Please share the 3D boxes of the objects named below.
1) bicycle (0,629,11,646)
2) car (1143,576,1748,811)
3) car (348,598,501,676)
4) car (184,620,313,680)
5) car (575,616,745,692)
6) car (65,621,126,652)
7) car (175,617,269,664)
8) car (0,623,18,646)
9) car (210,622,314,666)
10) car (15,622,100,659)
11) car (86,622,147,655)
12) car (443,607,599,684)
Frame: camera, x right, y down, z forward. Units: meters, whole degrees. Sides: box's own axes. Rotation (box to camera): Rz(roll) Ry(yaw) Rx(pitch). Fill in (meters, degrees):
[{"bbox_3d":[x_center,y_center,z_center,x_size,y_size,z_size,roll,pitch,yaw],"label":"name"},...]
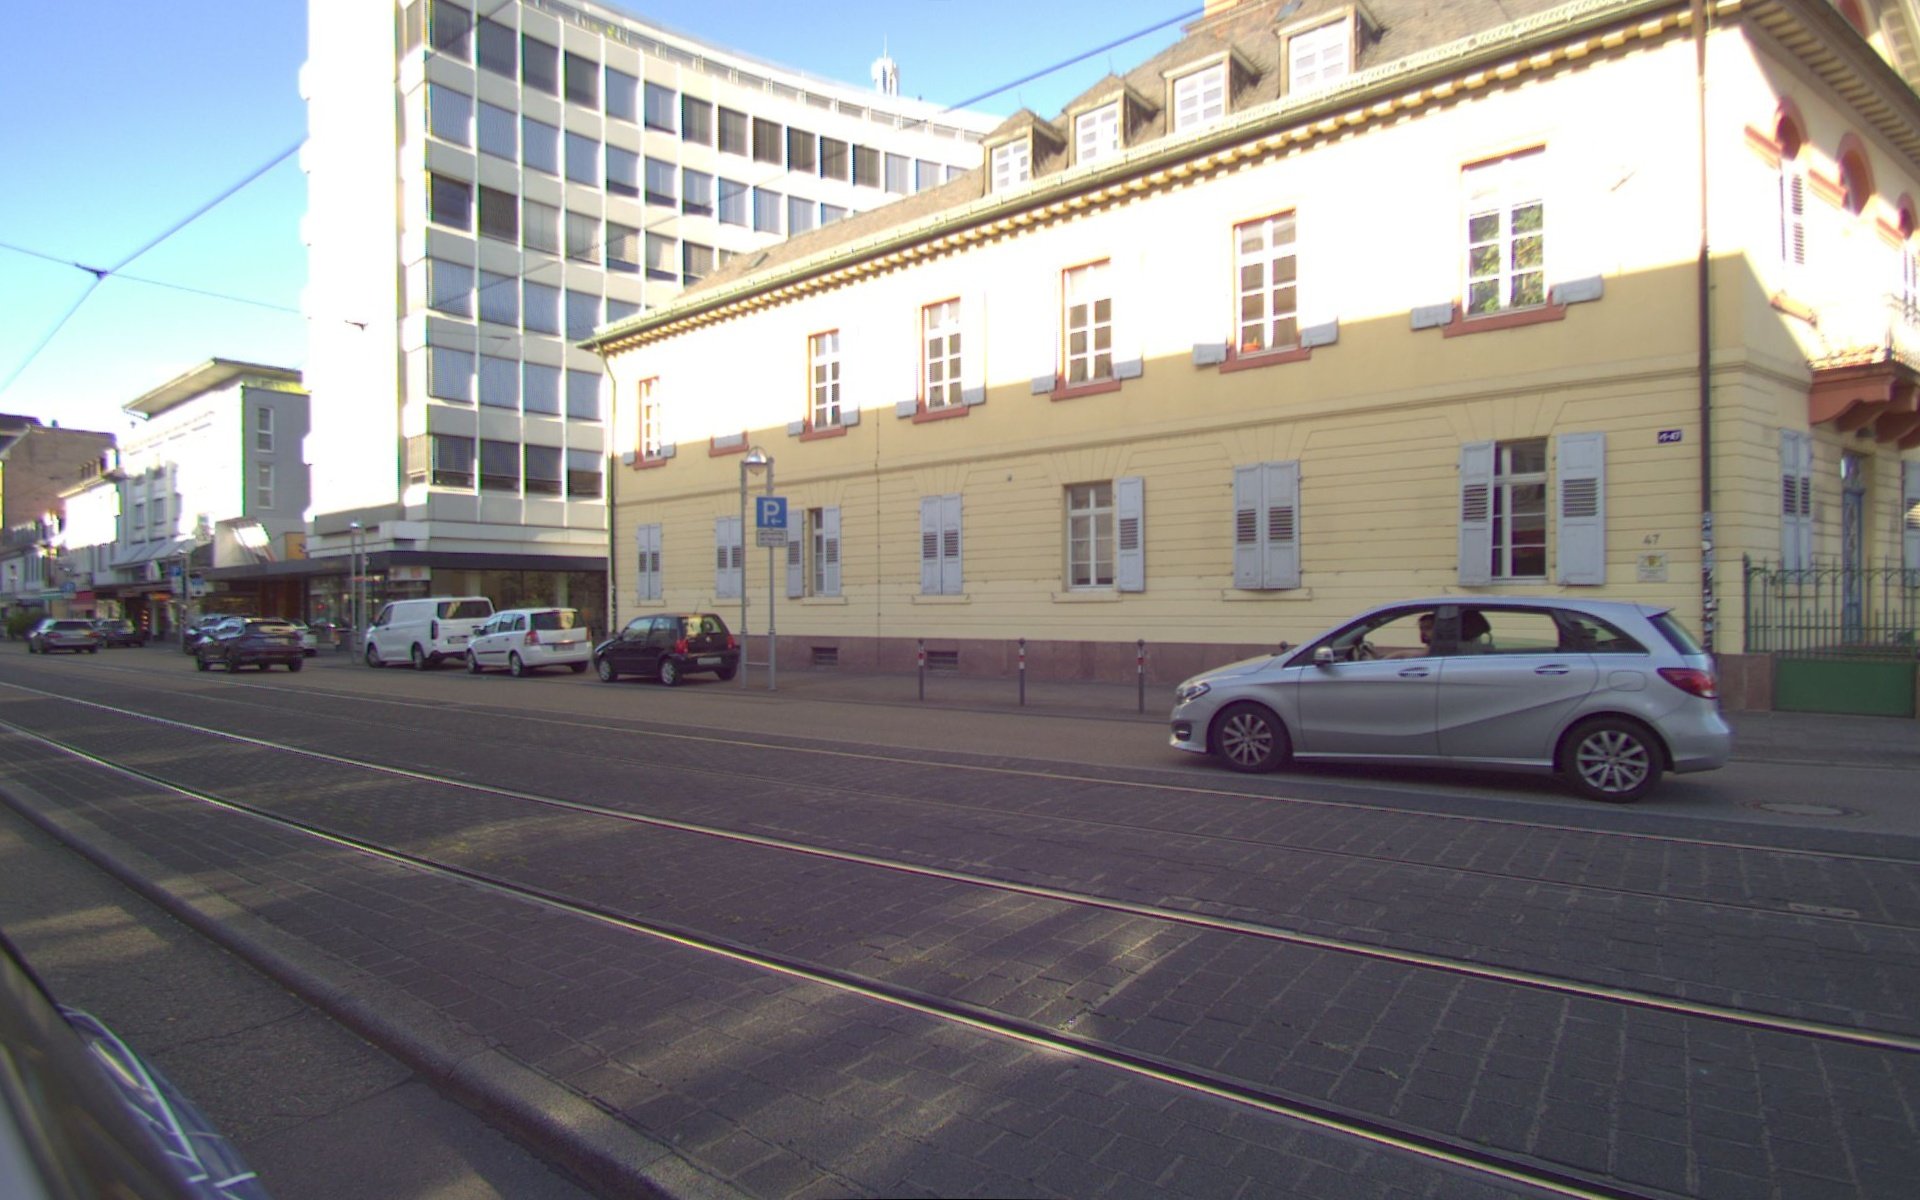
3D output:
[{"bbox_3d":[-65.383,2.551,69.200,1.714,1.098,0.513,-1,1,40],"label":"bicycle"},{"bbox_3d":[3.925,0.693,8.716,4.277,1.580,1.768,-2,-2,32],"label":"car"},{"bbox_3d":[-15.453,1.000,29.086,5.090,1.990,1.974,-1,1,39],"label":"car"},{"bbox_3d":[-20.100,1.363,28.540,4.272,1.523,1.748,-1,-1,37],"label":"car"},{"bbox_3d":[-6.410,1.084,21.490,3.716,1.411,1.599,-1,1,39],"label":"car"},{"bbox_3d":[-47.964,1.991,56.114,4.848,1.535,1.720,-1,2,40],"label":"car"},{"bbox_3d":[-29.840,1.574,40.868,4.651,1.691,1.959,-1,1,40],"label":"car"},{"bbox_3d":[-70.482,2.559,74.153,2.888,1.616,1.680,-1,1,39],"label":"car"},{"bbox_3d":[-25.976,1.583,37.623,4.650,1.431,1.870,-1,1,38],"label":"car"},{"bbox_3d":[-39.284,1.743,44.020,4.922,1.507,1.862,-1,-3,38],"label":"car"},{"bbox_3d":[-43.497,1.956,52.149,3.583,1.535,1.586,-1,1,37],"label":"car"},{"bbox_3d":[-11.108,1.079,25.473,4.647,1.698,1.789,-1,1,42],"label":"car"}]
